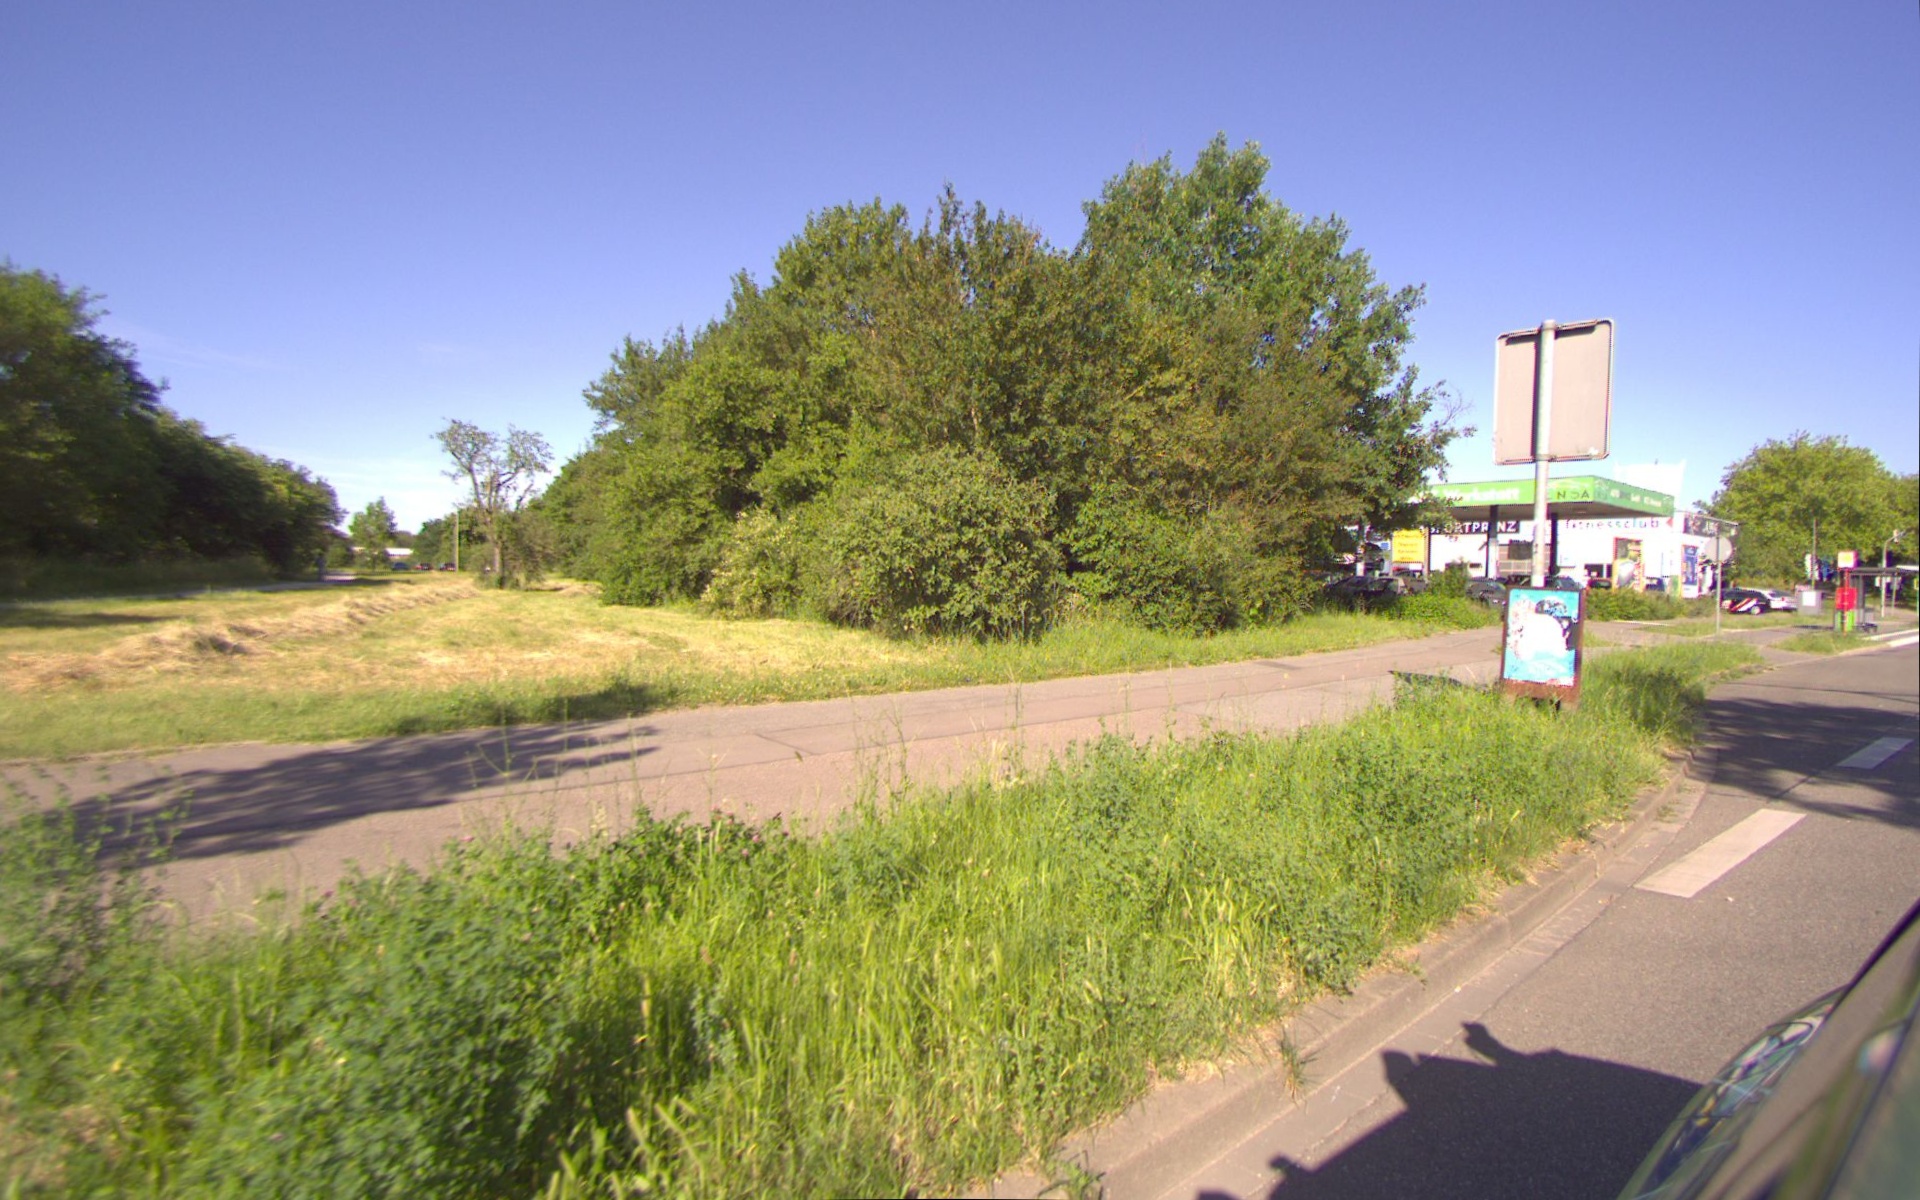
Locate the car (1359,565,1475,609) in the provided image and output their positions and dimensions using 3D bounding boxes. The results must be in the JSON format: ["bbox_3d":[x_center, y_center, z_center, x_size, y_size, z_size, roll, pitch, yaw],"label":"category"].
[{"bbox_3d":[16.002,-0.439,35.534,1.697,1.435,3.292,0,0,-38],"label":"car"}]

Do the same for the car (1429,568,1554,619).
[{"bbox_3d":[20.591,-0.313,39.452,1.764,1.659,4.572,2,3,-11],"label":"car"}]

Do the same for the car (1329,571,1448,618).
[{"bbox_3d":[14.408,-0.192,34.131,1.740,1.505,3.292,0,0,-38],"label":"car"}]

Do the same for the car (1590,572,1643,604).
[{"bbox_3d":[42.945,-0.822,66.171,4.146,1.883,1.896,-1,5,-43],"label":"car"}]

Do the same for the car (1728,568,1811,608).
[{"bbox_3d":[53.196,-0.831,66.618,1.652,2.035,4.012,5,7,-8],"label":"car"}]

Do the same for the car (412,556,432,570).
[{"bbox_3d":[-63.438,-4.390,119.276,1.960,1.527,4.003,0,0,-30],"label":"car"}]

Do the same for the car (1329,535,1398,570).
[{"bbox_3d":[22.052,-2.575,55.226,3.710,1.776,1.923,-1,2,-39],"label":"car"}]

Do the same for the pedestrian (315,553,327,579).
[{"bbox_3d":[-37.813,-2.015,59.890,0.529,1.548,0.535,0,0,-27],"label":"pedestrian"}]

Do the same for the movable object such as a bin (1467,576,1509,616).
[{"bbox_3d":[19.277,-0.149,36.983,0.972,1.446,1.258,1,0,7],"label":"movable object such as a bin"}]

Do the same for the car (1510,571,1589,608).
[{"bbox_3d":[26.865,-0.485,46.098,4.172,1.592,1.749,0,2,-39],"label":"car"}]

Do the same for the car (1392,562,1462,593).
[{"bbox_3d":[30.417,-1.411,65.921,1.890,1.931,3.698,0,0,-40],"label":"car"}]

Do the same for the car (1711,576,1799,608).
[{"bbox_3d":[50.816,-0.544,64.747,1.690,1.468,3.943,1,8,-29],"label":"car"}]

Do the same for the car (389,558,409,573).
[{"bbox_3d":[-65.454,-3.997,118.006,1.960,1.661,4.003,0,0,-30],"label":"car"}]

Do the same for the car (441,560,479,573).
[{"bbox_3d":[-59.498,-3.968,120.386,3.921,1.438,2.002,0,0,-31],"label":"car"}]

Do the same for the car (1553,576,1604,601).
[{"bbox_3d":[41.550,-0.782,67.912,4.147,1.266,1.771,-4,9,-43],"label":"car"}]

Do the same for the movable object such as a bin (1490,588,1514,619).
[{"bbox_3d":[18.939,0.117,35.352,0.572,1.088,0.509,1,0,8],"label":"movable object such as a bin"}]

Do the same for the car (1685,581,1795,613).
[{"bbox_3d":[45.897,-0.201,59.622,4.748,1.549,1.900,3,3,4],"label":"car"}]
